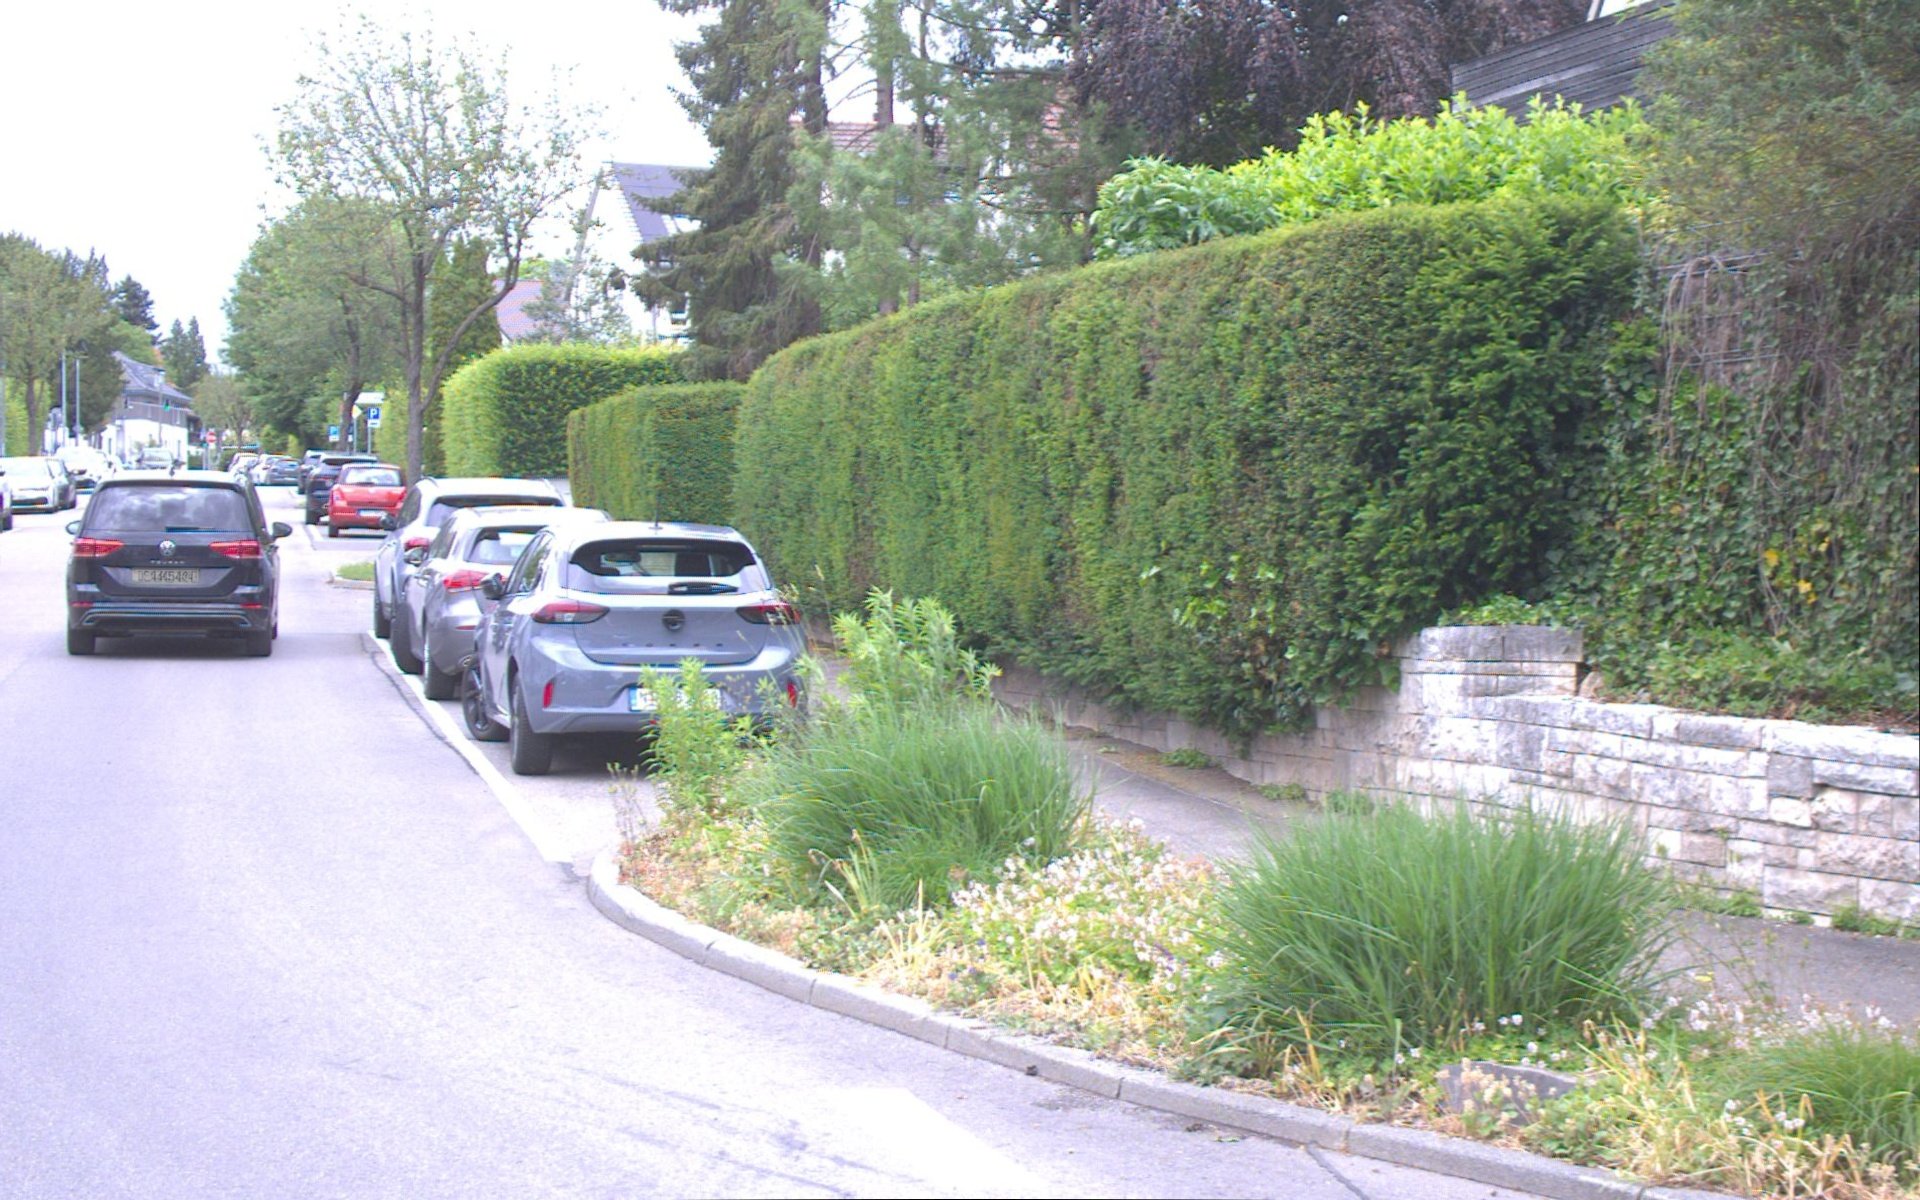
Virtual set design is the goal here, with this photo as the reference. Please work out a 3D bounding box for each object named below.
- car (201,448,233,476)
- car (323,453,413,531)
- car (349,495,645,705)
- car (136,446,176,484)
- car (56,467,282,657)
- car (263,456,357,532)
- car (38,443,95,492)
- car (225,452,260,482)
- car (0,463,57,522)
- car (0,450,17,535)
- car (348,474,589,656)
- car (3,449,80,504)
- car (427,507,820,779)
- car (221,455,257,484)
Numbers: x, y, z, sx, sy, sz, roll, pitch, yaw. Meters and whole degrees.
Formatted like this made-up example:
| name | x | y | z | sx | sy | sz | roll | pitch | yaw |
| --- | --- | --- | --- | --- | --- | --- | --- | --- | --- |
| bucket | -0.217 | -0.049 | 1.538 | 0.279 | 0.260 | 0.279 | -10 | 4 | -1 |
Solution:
| name | x | y | z | sx | sy | sz | roll | pitch | yaw |
| --- | --- | --- | --- | --- | --- | --- | --- | --- | --- |
| car | -44.985 | -8.343 | 208.079 | 1.643 | 1.662 | 3.469 | 0 | 3 | -16 |
| car | -11.930 | -2.190 | 69.198 | 1.660 | 1.502 | 3.760 | 0 | 3 | -12 |
| car | -3.710 | -0.054 | 26.957 | 1.854 | 1.459 | 4.174 | 1 | 2 | -14 |
| car | -40.946 | -6.892 | 175.120 | 1.884 | 1.844 | 4.403 | -1 | 3 | -12 |
| car | -7.152 | -0.403 | 31.408 | 1.847 | 1.606 | 4.313 | 0 | 2 | -11 |
| car | -14.871 | -2.438 | 78.601 | 1.993 | 1.612 | 4.515 | 2 | 2 | -11 |
| car | -29.119 | -4.334 | 112.061 | 1.722 | 1.535 | 4.002 | -1 | 3 | -14 |
| car | -40.374 | -7.481 | 193.403 | 1.664 | 1.662 | 3.469 | 0 | 3 | -16 |
| car | -24.218 | -2.757 | 88.135 | 1.837 | 1.417 | 4.410 | -2 | 3 | -12 |
| car | -20.329 | -2.186 | 69.958 | 1.837 | 1.660 | 4.410 | -2 | 3 | -11 |
| car | -4.732 | -0.380 | 32.667 | 1.854 | 1.576 | 4.174 | 1 | 2 | -14 |
| car | -24.839 | -3.343 | 93.093 | 1.727 | 1.418 | 4.081 | -1 | 2 | -11 |
| car | -2.178 | 0.195 | 21.227 | 1.854 | 1.459 | 4.002 | 1 | 2 | -14 |
| car | -39.152 | -7.108 | 186.668 | 1.664 | 1.495 | 3.469 | 0 | 3 | -16 |
